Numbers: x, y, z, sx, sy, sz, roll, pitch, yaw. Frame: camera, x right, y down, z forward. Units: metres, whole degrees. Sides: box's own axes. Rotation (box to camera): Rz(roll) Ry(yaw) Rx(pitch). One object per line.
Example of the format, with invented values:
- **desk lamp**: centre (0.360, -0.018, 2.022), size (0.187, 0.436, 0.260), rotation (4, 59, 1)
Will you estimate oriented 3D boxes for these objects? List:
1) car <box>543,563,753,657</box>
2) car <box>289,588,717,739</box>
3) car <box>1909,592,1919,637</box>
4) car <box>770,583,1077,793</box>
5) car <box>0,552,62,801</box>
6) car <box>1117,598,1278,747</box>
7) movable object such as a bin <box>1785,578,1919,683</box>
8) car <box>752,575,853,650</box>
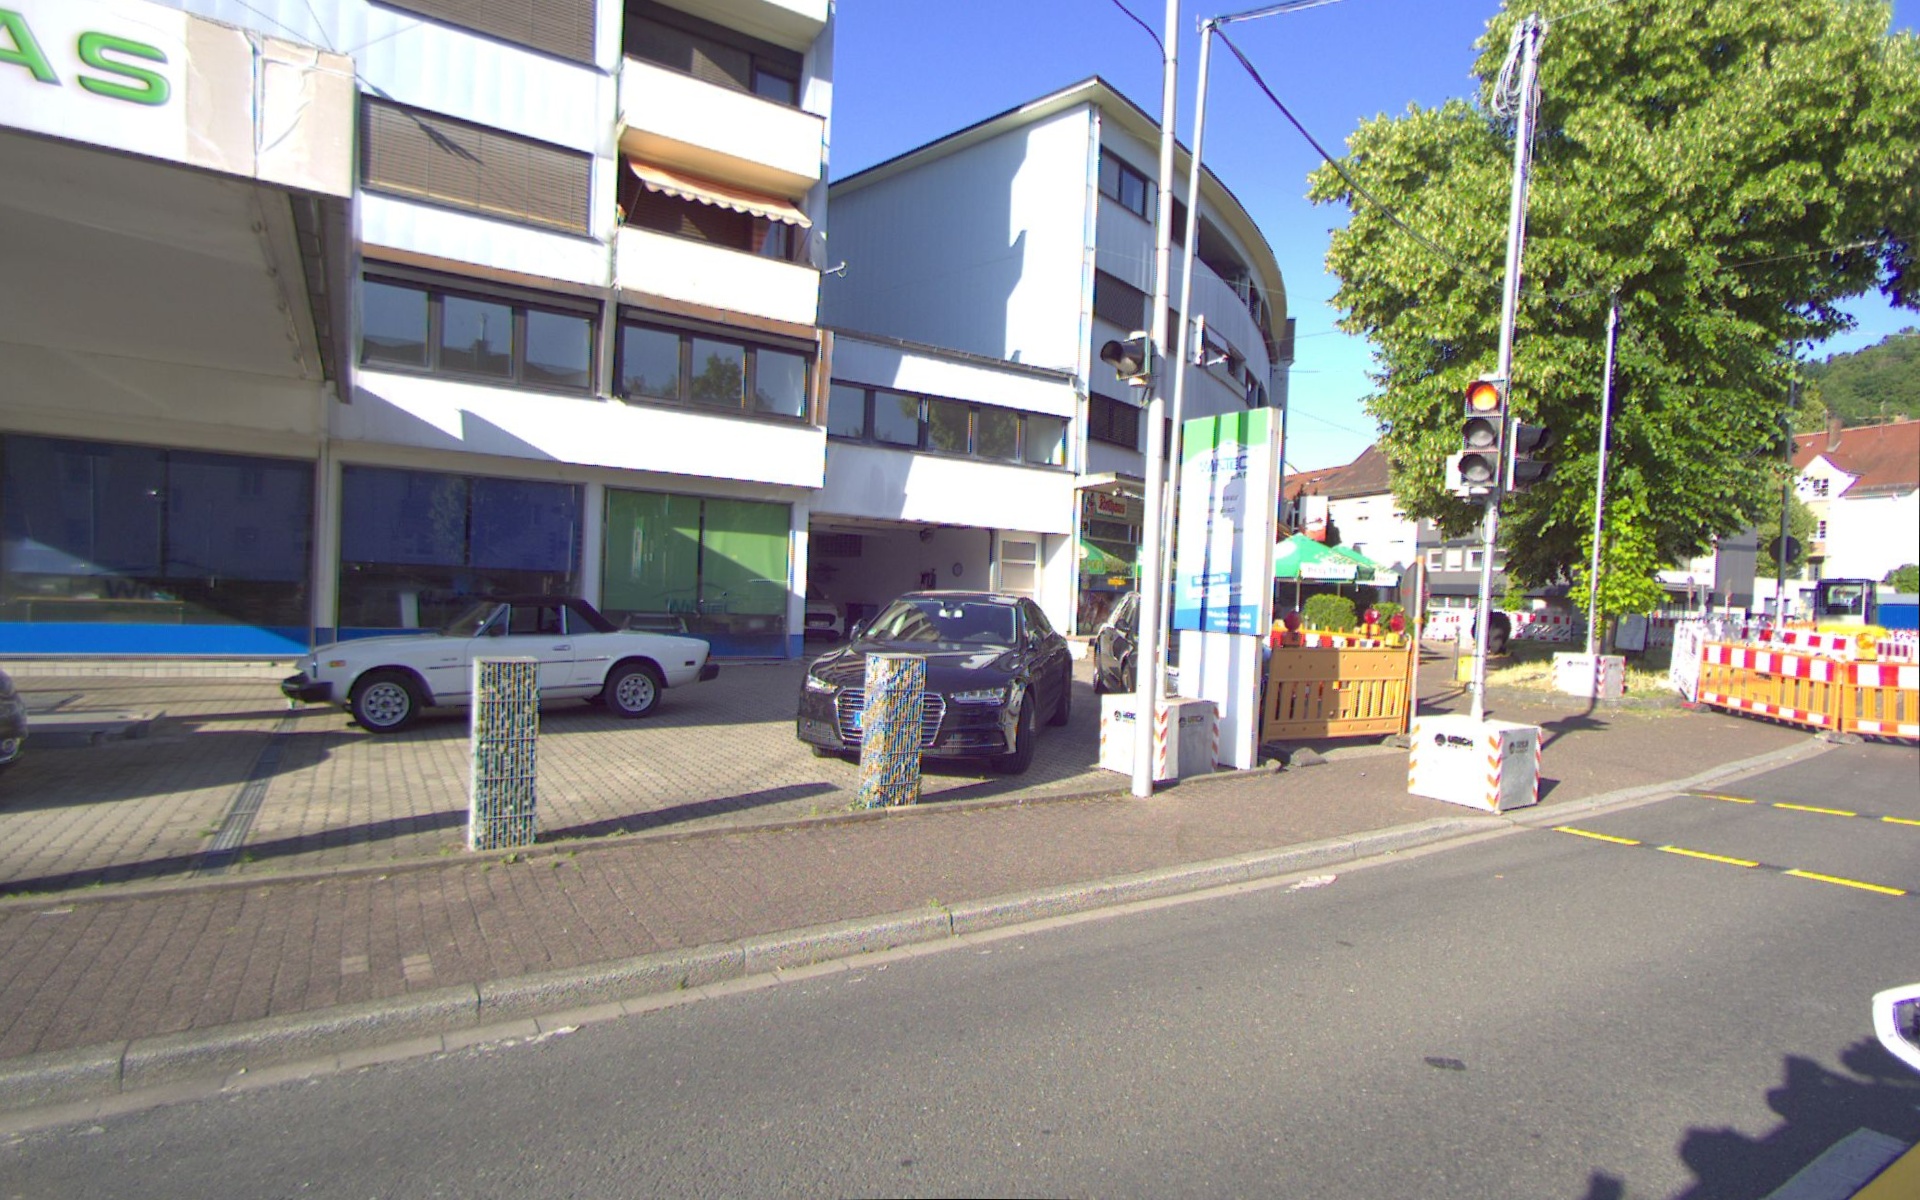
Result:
- **car**: centre (-6.096, 0.218, 19.711), size (3.593, 1.696, 1.707), rotation (2, 0, -34)
- **car**: centre (-4.672, 0.592, 10.488), size (3.865, 1.315, 1.511), rotation (1, -1, -35)
- **car**: centre (49.533, 0.790, 48.362), size (6.043, 2.149, 2.586), rotation (2, 0, -12)
- **car**: centre (-0.021, 0.649, 9.572), size (1.893, 1.457, 4.692), rotation (1, -1, 11)
- **car**: centre (-7.478, 0.408, 5.860), size (3.305, 1.506, 1.543), rotation (2, 0, 8)
- **car**: centre (2.762, 0.745, 12.081), size (1.564, 1.457, 3.887), rotation (1, 0, 11)
- **movable object such as a bin**: centre (21.534, 0.701, 24.161), size (3.882, 2.356, 1.635), rotation (1, 0, -36)
- **car**: centre (-3.890, 0.254, 24.382), size (1.550, 1.629, 3.734), rotation (2, 1, -23)
